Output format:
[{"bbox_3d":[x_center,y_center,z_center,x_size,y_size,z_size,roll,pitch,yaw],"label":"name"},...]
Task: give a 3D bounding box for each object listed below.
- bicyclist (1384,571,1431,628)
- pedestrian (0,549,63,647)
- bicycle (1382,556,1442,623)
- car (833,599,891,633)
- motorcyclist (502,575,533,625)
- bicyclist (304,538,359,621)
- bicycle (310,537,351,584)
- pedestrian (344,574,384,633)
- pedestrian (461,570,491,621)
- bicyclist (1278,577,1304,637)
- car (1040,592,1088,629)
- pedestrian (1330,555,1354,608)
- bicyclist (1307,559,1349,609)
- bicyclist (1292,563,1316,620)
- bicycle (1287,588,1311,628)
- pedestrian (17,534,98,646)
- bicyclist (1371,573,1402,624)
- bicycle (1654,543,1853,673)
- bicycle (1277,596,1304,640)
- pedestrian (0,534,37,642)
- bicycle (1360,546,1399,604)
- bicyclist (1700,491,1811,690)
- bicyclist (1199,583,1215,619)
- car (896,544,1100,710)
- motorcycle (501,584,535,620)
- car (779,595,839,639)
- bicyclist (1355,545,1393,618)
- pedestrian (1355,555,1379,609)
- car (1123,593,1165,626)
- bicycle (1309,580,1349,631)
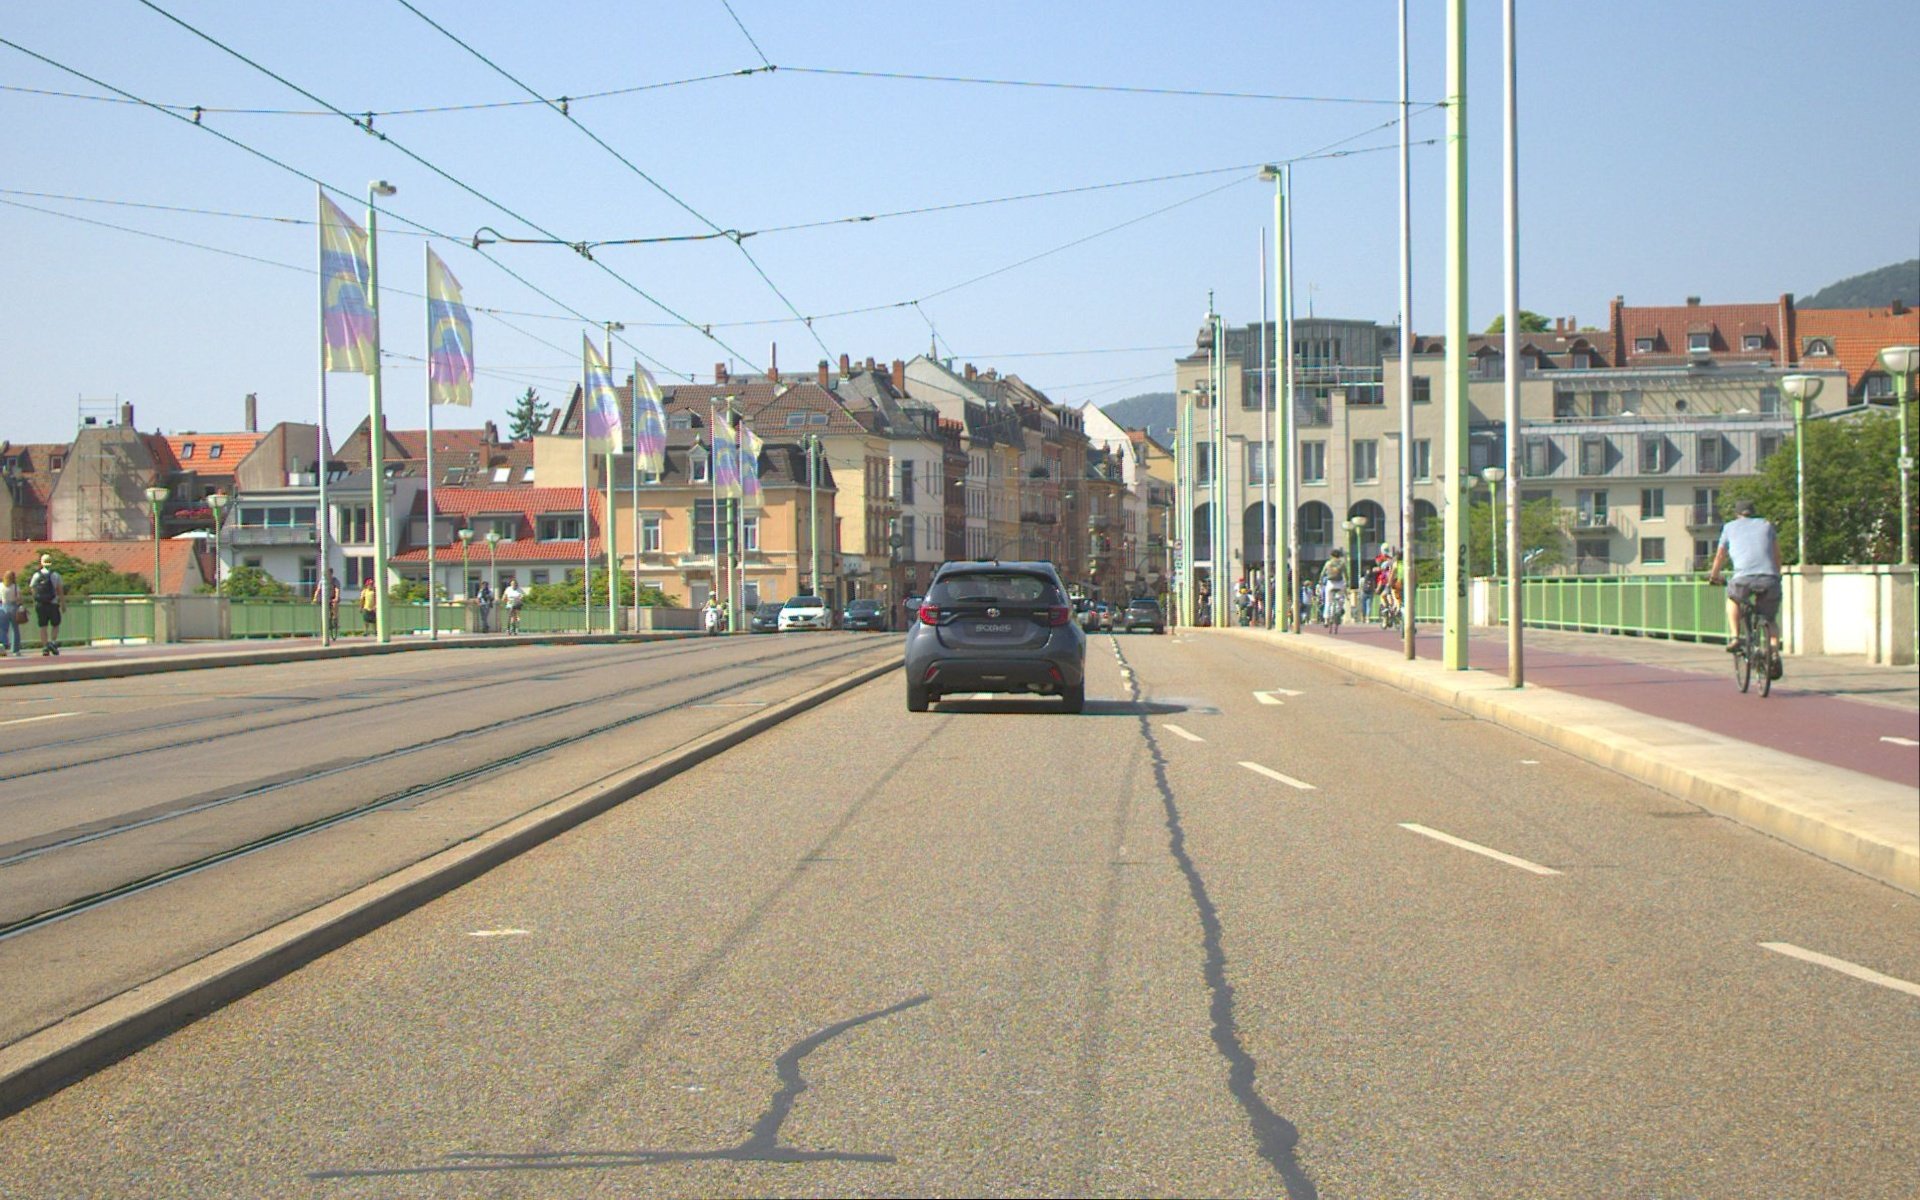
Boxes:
[{"bbox_3d":[8.193,-0.015,62.944,0.666,1.041,0.980,0,0,-4],"label":"bicyclist"},{"bbox_3d":[-16.825,-0.042,61.733,1.097,1.723,1.295,0,1,0],"label":"pedestrian"},{"bbox_3d":[8.211,-0.185,62.528,0.695,1.189,2.079,-1,0,-3],"label":"bicycle"},{"bbox_3d":[-4.744,0.782,166.921,1.994,1.594,4.336,0,0,9],"label":"car"},{"bbox_3d":[-13.765,-0.016,107.019,0.800,1.544,1.069,0,0,2],"label":"motorcyclist"},{"bbox_3d":[-15.034,-0.491,82.246,1.097,1.954,1.129,0,1,0],"label":"bicyclist"},{"bbox_3d":[-15.045,-0.953,82.202,0.588,1.093,2.113,0,1,0],"label":"bicycle"},{"bbox_3d":[-16.960,0.094,97.826,0.899,1.652,1.028,0,0,5],"label":"pedestrian"},{"bbox_3d":[-16.343,-0.165,116.078,0.830,1.716,1.094,0,0,3],"label":"pedestrian"},{"bbox_3d":[9.179,0.192,95.341,0.656,1.670,0.869,0,0,1],"label":"bicyclist"},{"bbox_3d":[4.327,0.416,143.827,1.804,1.464,4.000,-2,0,0],"label":"car"},{"bbox_3d":[11.363,-0.543,102.271,0.599,1.580,0.867,0,0,0],"label":"pedestrian"},{"bbox_3d":[7.583,-0.329,70.836,0.735,1.027,1.175,0,0,1],"label":"bicyclist"},{"bbox_3d":[10.162,-0.245,101.469,0.627,1.684,0.869,0,0,1],"label":"bicyclist"},{"bbox_3d":[10.015,0.231,101.475,0.526,1.174,2.029,0,0,1],"label":"bicycle"},{"bbox_3d":[-16.274,-0.191,62.038,1.097,2.007,1.295,0,1,0],"label":"pedestrian"},{"bbox_3d":[9.322,-0.037,75.176,0.599,1.098,0.852,0,0,12],"label":"bicyclist"},{"bbox_3d":[7.135,0.048,31.153,0.792,1.092,3.745,-1,1,-2],"label":"bicycle"},{"bbox_3d":[9.171,0.493,95.412,0.593,1.174,1.939,0,0,1],"label":"bicycle"},{"bbox_3d":[-18.116,-0.235,64.874,1.097,2.007,1.129,0,1,0],"label":"pedestrian"},{"bbox_3d":[9.439,-0.562,77.453,0.618,1.266,2.216,0,0,0],"label":"bicycle"},{"bbox_3d":[7.146,-0.091,30.925,0.673,1.738,1.150,-1,1,-2],"label":"bicyclist"},{"bbox_3d":[10.962,0.063,152.691,0.653,1.561,1.337,-2,-1,4],"label":"bicyclist"},{"bbox_3d":[0.355,0.226,34.648,1.910,1.535,4.000,1,1,0],"label":"car"},{"bbox_3d":[-13.757,0.058,107.016,0.701,1.106,2.179,0,0,2],"label":"motorcycle"},{"bbox_3d":[-5.680,0.610,128.923,1.993,1.404,4.548,-3,2,-4],"label":"car"},{"bbox_3d":[9.342,-0.418,77.616,0.735,1.630,0.867,0,0,1],"label":"bicyclist"},{"bbox_3d":[12.120,-0.533,102.283,0.599,1.580,0.867,0,0,0],"label":"pedestrian"},{"bbox_3d":[8.625,0.430,160.587,1.804,1.464,3.999,-2,0,5],"label":"car"},{"bbox_3d":[7.595,0.105,70.839,0.618,1.034,2.051,0,0,0],"label":"bicycle"}]
